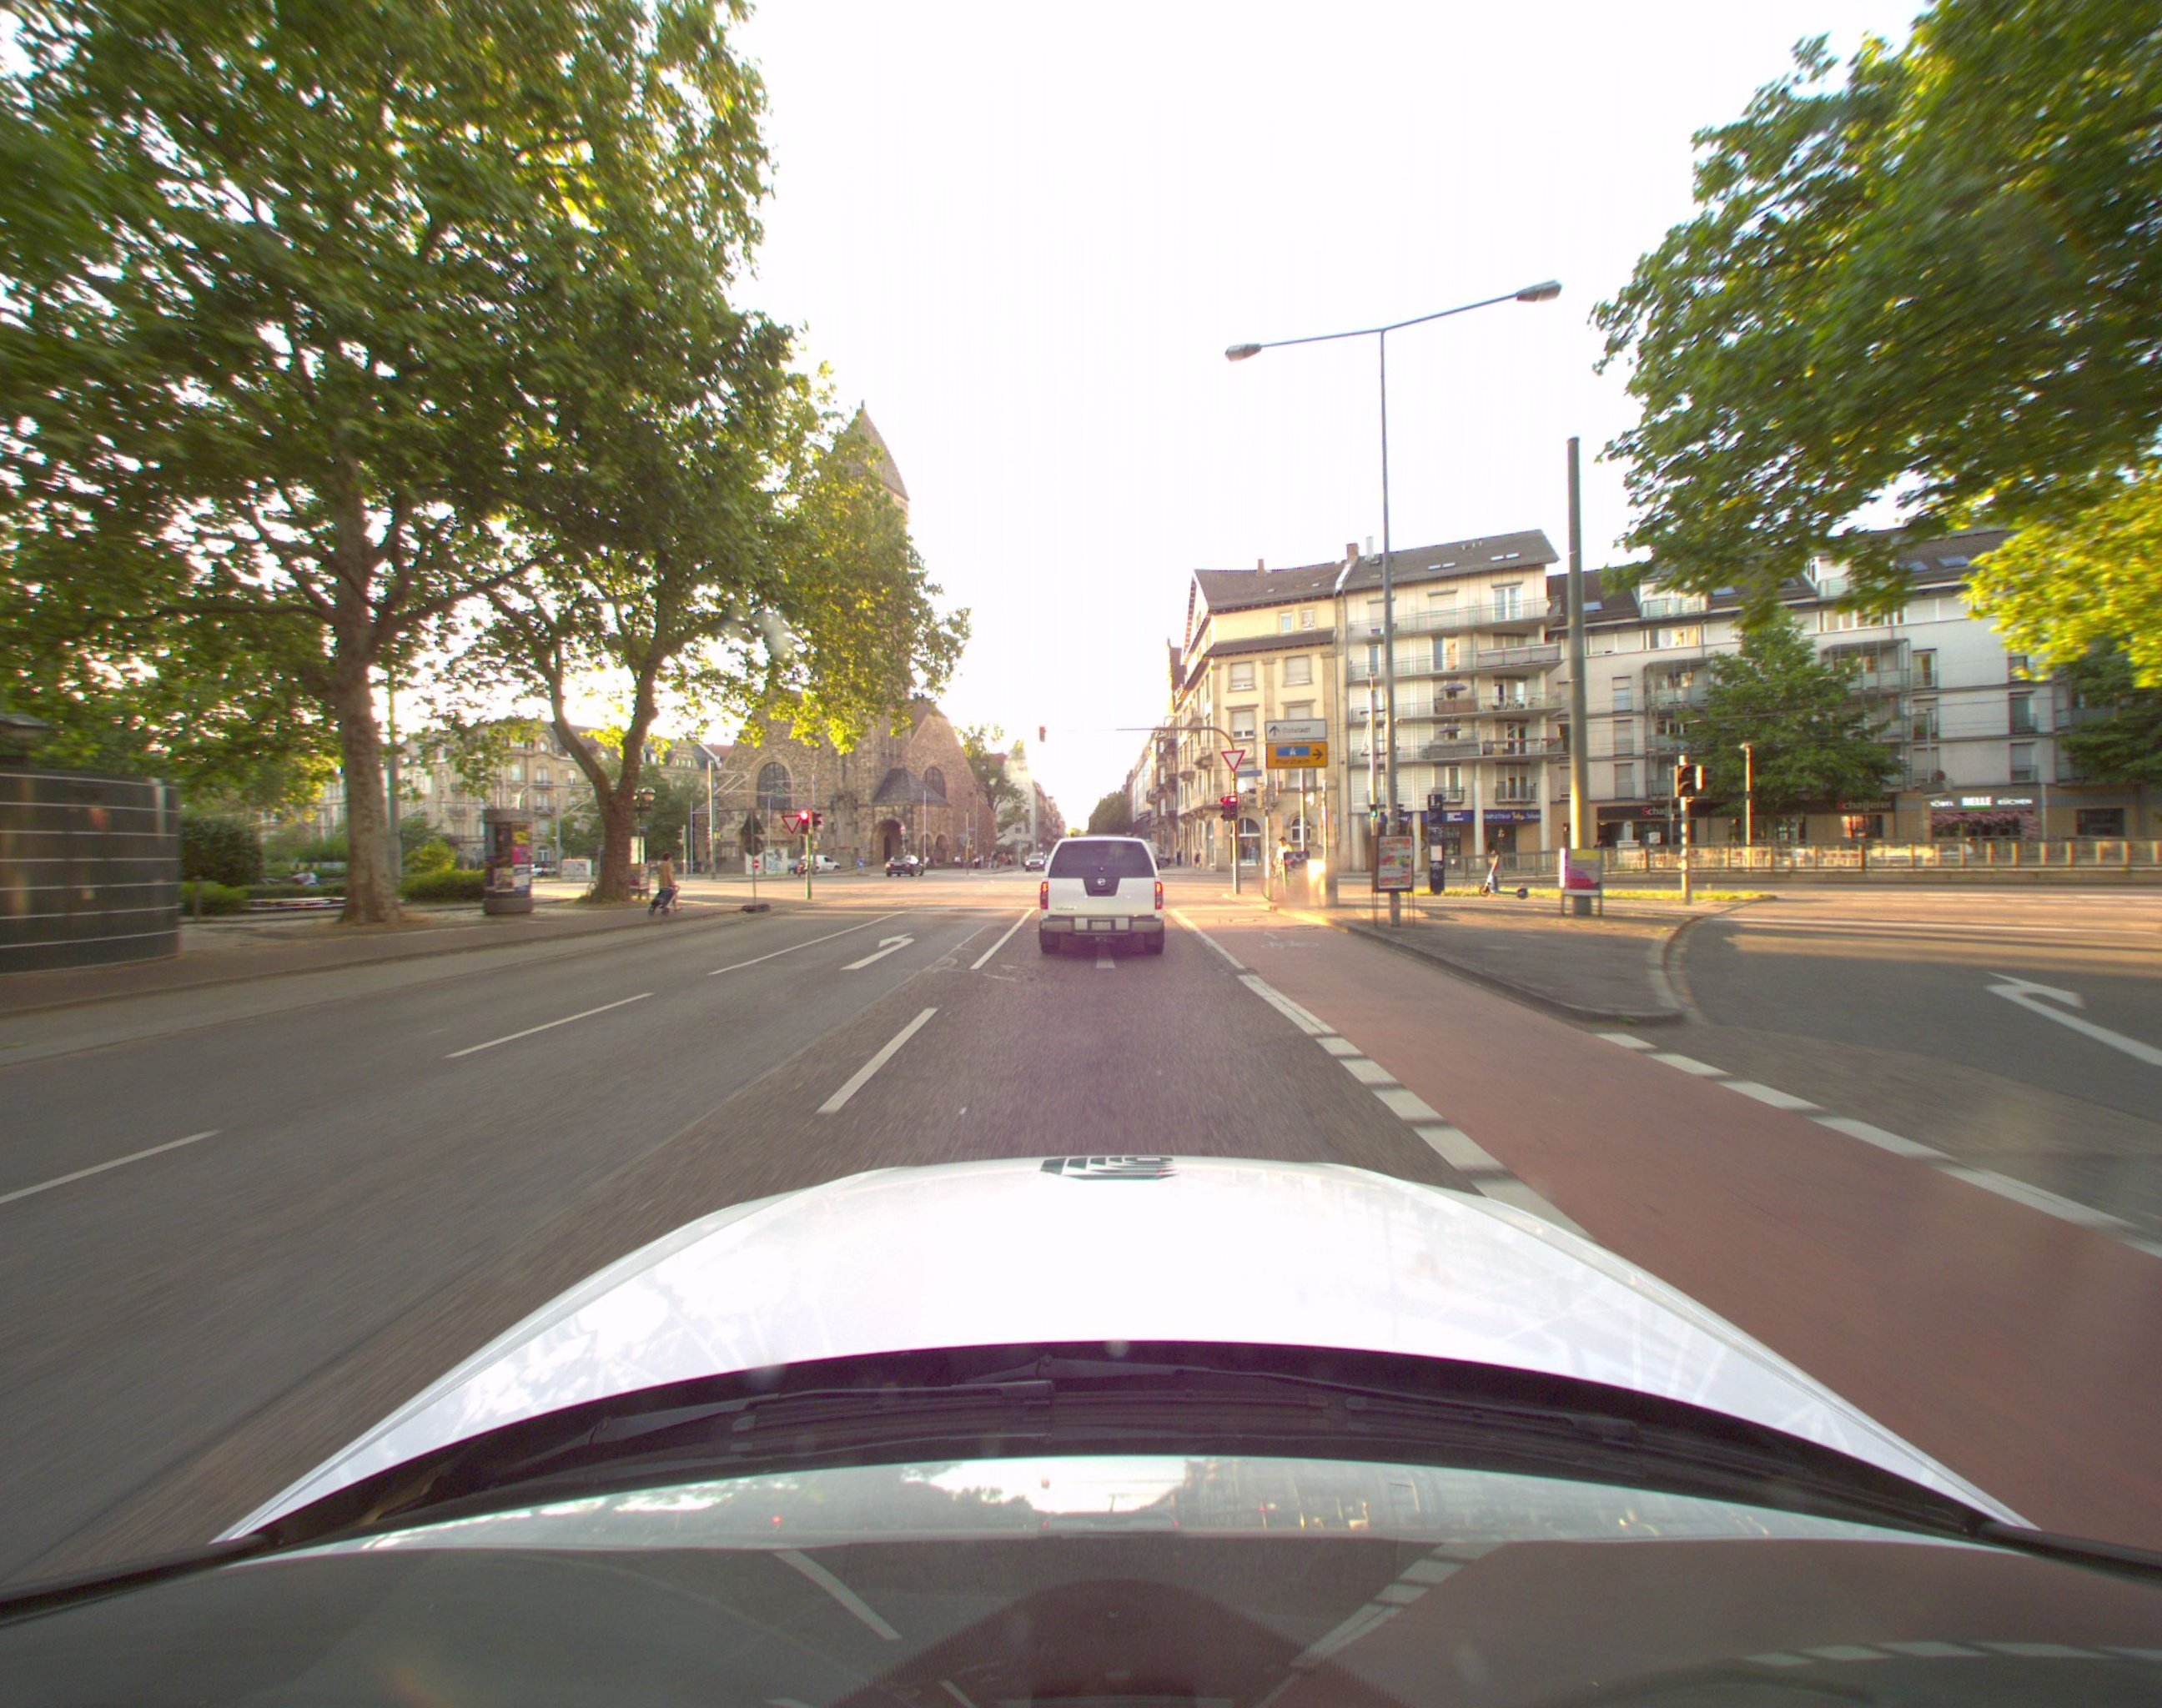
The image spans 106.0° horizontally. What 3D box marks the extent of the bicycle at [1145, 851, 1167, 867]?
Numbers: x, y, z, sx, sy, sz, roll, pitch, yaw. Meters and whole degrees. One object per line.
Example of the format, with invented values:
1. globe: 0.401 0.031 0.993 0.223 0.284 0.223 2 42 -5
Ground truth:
1. bicycle: 6.529 0.417 71.178 1.812 1.238 0.412 -4 -1 -1

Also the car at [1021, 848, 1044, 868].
1. car: -4.783 0.369 81.174 1.987 1.784 4.797 0 2 0

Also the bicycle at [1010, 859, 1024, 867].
1. bicycle: -7.980 1.112 101.021 1.921 1.043 0.604 -1 -1 43

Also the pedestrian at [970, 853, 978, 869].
1. pedestrian: -11.434 0.765 86.896 0.628 1.698 0.606 0 1 18

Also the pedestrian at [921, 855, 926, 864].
1. pedestrian: -17.785 0.605 92.063 0.551 0.960 0.708 0 -1 -5

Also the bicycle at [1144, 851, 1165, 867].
1. bicycle: 6.477 0.422 71.785 1.812 1.238 0.410 -4 -1 -1

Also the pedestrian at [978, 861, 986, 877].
1. pedestrian: -10.554 1.617 86.768 0.629 1.698 0.605 0 -1 15

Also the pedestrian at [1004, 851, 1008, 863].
1. pedestrian: -10.500 0.407 113.724 0.559 1.695 0.643 0 -1 -6

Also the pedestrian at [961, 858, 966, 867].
1. pedestrian: -12.610 0.880 87.337 0.522 0.960 0.477 0 -1 -14

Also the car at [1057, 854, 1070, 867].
1. car: -2.897 1.068 134.127 1.987 2.014 4.950 -1 -1 1

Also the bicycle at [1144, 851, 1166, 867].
1. bicycle: 6.405 0.446 70.455 1.812 1.238 0.477 -4 -1 -1

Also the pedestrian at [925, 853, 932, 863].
1. pedestrian: -15.348 0.423 82.095 0.517 0.960 0.482 0 -1 21

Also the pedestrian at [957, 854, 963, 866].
1. pedestrian: -13.248 0.655 89.246 0.474 1.245 0.526 0 -1 19

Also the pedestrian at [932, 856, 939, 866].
1. pedestrian: -14.823 0.704 82.976 0.473 0.960 0.526 -1 -1 31

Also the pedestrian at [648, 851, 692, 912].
1. pedestrian: -11.129 0.742 22.070 0.800 1.628 0.773 0 -1 -3

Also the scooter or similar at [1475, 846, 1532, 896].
1. scooter or similar: 10.919 0.438 21.047 1.219 1.249 0.518 -1 -1 41

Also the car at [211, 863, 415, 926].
1. car: -26.425 1.328 28.225 1.975 1.781 4.669 -2 1 27

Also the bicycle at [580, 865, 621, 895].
1. bicycle: -17.790 0.944 30.163 0.456 1.092 1.798 0 -1 0

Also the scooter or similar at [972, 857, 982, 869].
1. scooter or similar: -10.976 0.956 85.857 0.628 1.103 1.084 1 3 19

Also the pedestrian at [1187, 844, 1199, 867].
1. pedestrian: 8.721 0.150 63.354 0.779 1.779 0.546 0 -1 27

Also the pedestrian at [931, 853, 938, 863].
1. pedestrian: -14.737 0.420 81.805 0.517 0.960 0.482 0 -1 21

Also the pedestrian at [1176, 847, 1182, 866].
1. pedestrian: 8.840 0.230 73.447 0.525 1.654 0.547 0 -1 1

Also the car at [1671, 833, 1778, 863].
1. car: 32.960 -0.296 41.830 3.952 1.486 1.859 0 -1 21

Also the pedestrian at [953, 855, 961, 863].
1. pedestrian: -14.556 0.625 95.675 0.547 0.960 0.713 0 -1 22

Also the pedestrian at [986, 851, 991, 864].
1. pedestrian: -12.115 0.523 106.888 0.640 1.695 0.562 0 -1 1

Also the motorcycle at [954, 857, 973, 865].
1. motorcycle: -14.268 0.852 98.802 2.239 0.987 0.707 0 -1 -4

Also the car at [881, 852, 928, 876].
1. car: -11.889 0.672 55.115 1.984 1.618 4.006 0 0 5

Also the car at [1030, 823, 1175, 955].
1. car: 0.361 0.498 13.222 1.986 1.809 4.001 0 0 2

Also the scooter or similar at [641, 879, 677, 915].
1. scooter or similar: -10.985 1.099 21.223 0.591 0.898 0.849 0 -1 -9

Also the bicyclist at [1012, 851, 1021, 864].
1. bicyclist: -8.046 0.467 101.096 0.951 1.644 0.604 -1 -1 43

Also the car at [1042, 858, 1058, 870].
1. car: -4.409 1.407 117.379 1.987 1.558 4.769 2 0 0

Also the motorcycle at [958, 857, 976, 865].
1. motorcycle: -14.107 0.867 100.827 2.239 0.987 0.707 0 -1 -4

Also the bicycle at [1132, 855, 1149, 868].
1. bicycle: 5.164 0.648 70.892 1.367 1.024 0.317 -4 -1 -1

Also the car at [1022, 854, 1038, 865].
1. car: -6.862 0.754 110.516 1.852 1.398 4.001 0 0 1

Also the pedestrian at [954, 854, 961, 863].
1. pedestrian: -13.286 0.459 87.482 0.517 0.960 0.482 0 -1 19

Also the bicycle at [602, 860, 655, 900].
1. bicycle: -15.565 0.888 28.080 0.522 1.326 1.998 0 -1 7

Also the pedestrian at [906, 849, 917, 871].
1. pedestrian: -15.200 0.541 73.158 0.809 1.901 0.666 0 -1 -1

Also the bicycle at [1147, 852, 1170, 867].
1. bicycle: 6.514 0.472 68.799 1.812 1.150 0.636 -4 -1 -1

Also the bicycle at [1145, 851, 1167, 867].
1. bicycle: 6.420 0.436 69.743 1.812 1.238 0.488 -4 -1 -1

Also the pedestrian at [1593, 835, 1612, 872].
1. pedestrian: 31.905 -0.031 49.830 0.860 2.209 0.825 0 -1 21

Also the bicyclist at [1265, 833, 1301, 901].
1. bicyclist: 5.480 0.346 22.073 0.701 1.824 0.622 0 -1 -31

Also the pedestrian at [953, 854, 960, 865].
1. pedestrian: -13.539 0.611 88.579 0.474 1.245 0.526 0 -1 19

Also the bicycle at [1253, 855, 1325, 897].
1. bicycle: 5.683 0.590 22.195 2.079 1.109 0.622 0 -1 -31

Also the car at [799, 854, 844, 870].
1. car: -26.032 0.805 81.945 1.698 1.517 4.481 0 -1 26

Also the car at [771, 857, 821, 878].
1. car: -23.811 1.106 67.969 3.948 1.684 2.013 0 -1 36

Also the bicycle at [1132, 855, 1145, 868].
1. bicycle: 4.949 0.658 70.185 1.073 1.024 0.317 -4 -1 -1

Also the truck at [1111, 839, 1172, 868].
1. truck: 5.639 -0.075 75.389 5.704 2.565 2.260 0 0 -42
